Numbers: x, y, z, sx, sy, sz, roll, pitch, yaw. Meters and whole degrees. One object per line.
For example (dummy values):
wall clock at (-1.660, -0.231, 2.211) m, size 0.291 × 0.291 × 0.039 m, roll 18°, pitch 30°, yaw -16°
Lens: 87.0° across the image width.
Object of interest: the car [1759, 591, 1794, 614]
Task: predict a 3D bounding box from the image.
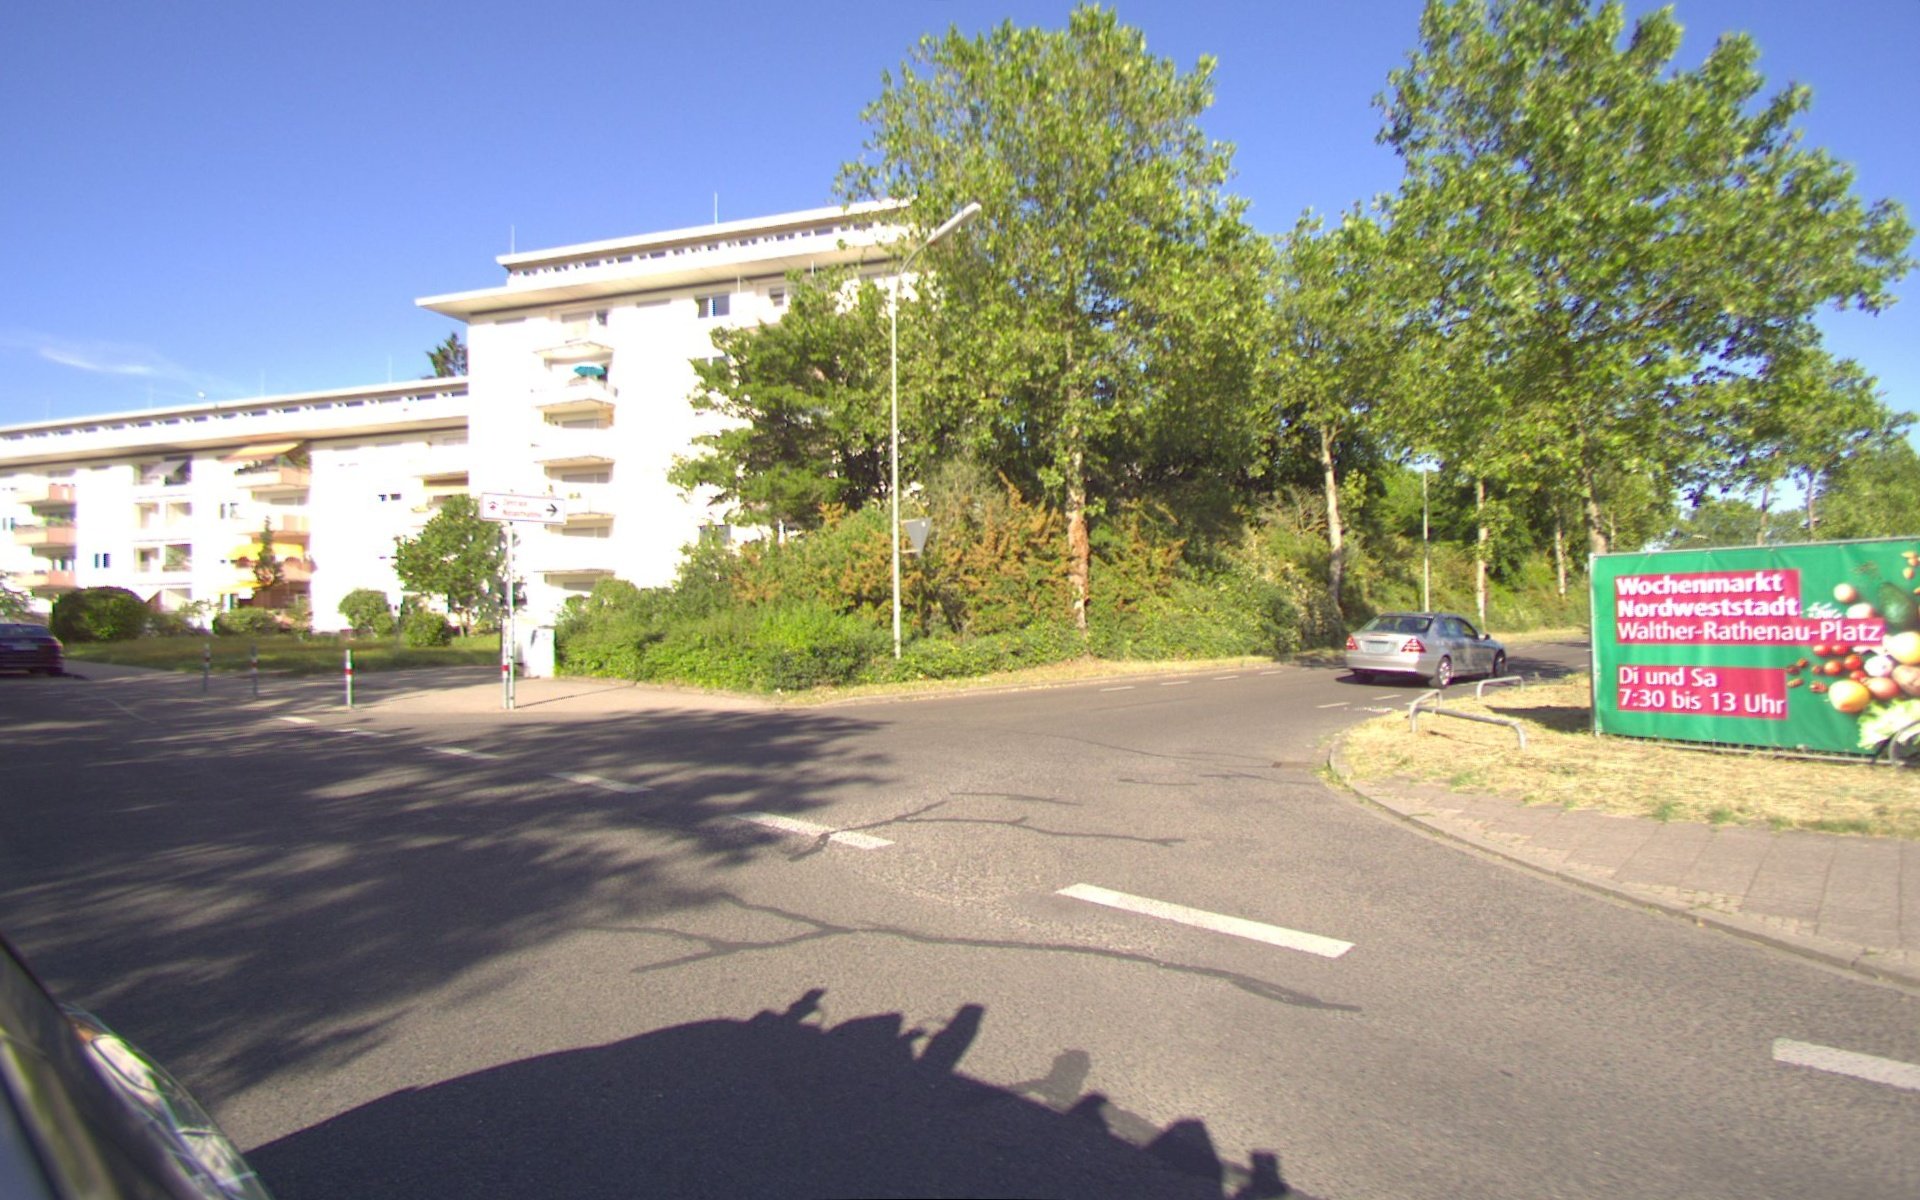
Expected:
car at (61.091, 0.189, 75.700) m, size 1.788 × 1.558 × 3.944 m, roll -1°, pitch 2°, yaw 43°

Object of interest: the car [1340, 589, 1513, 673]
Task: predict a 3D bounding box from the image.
car at (9.317, 0.527, 20.093) m, size 3.939 × 1.464 × 1.745 m, roll -1°, pitch 1°, yaw -43°

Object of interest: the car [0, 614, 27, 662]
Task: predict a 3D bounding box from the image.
car at (-31.066, 1.198, 32.046) m, size 4.016 × 1.465 × 1.821 m, roll -1°, pitch -1°, yaw 41°

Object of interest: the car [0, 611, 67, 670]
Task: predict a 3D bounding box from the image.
car at (-26.060, 1.094, 27.670) m, size 4.677 × 1.475 × 1.711 m, roll -2°, pitch -1°, yaw 39°
